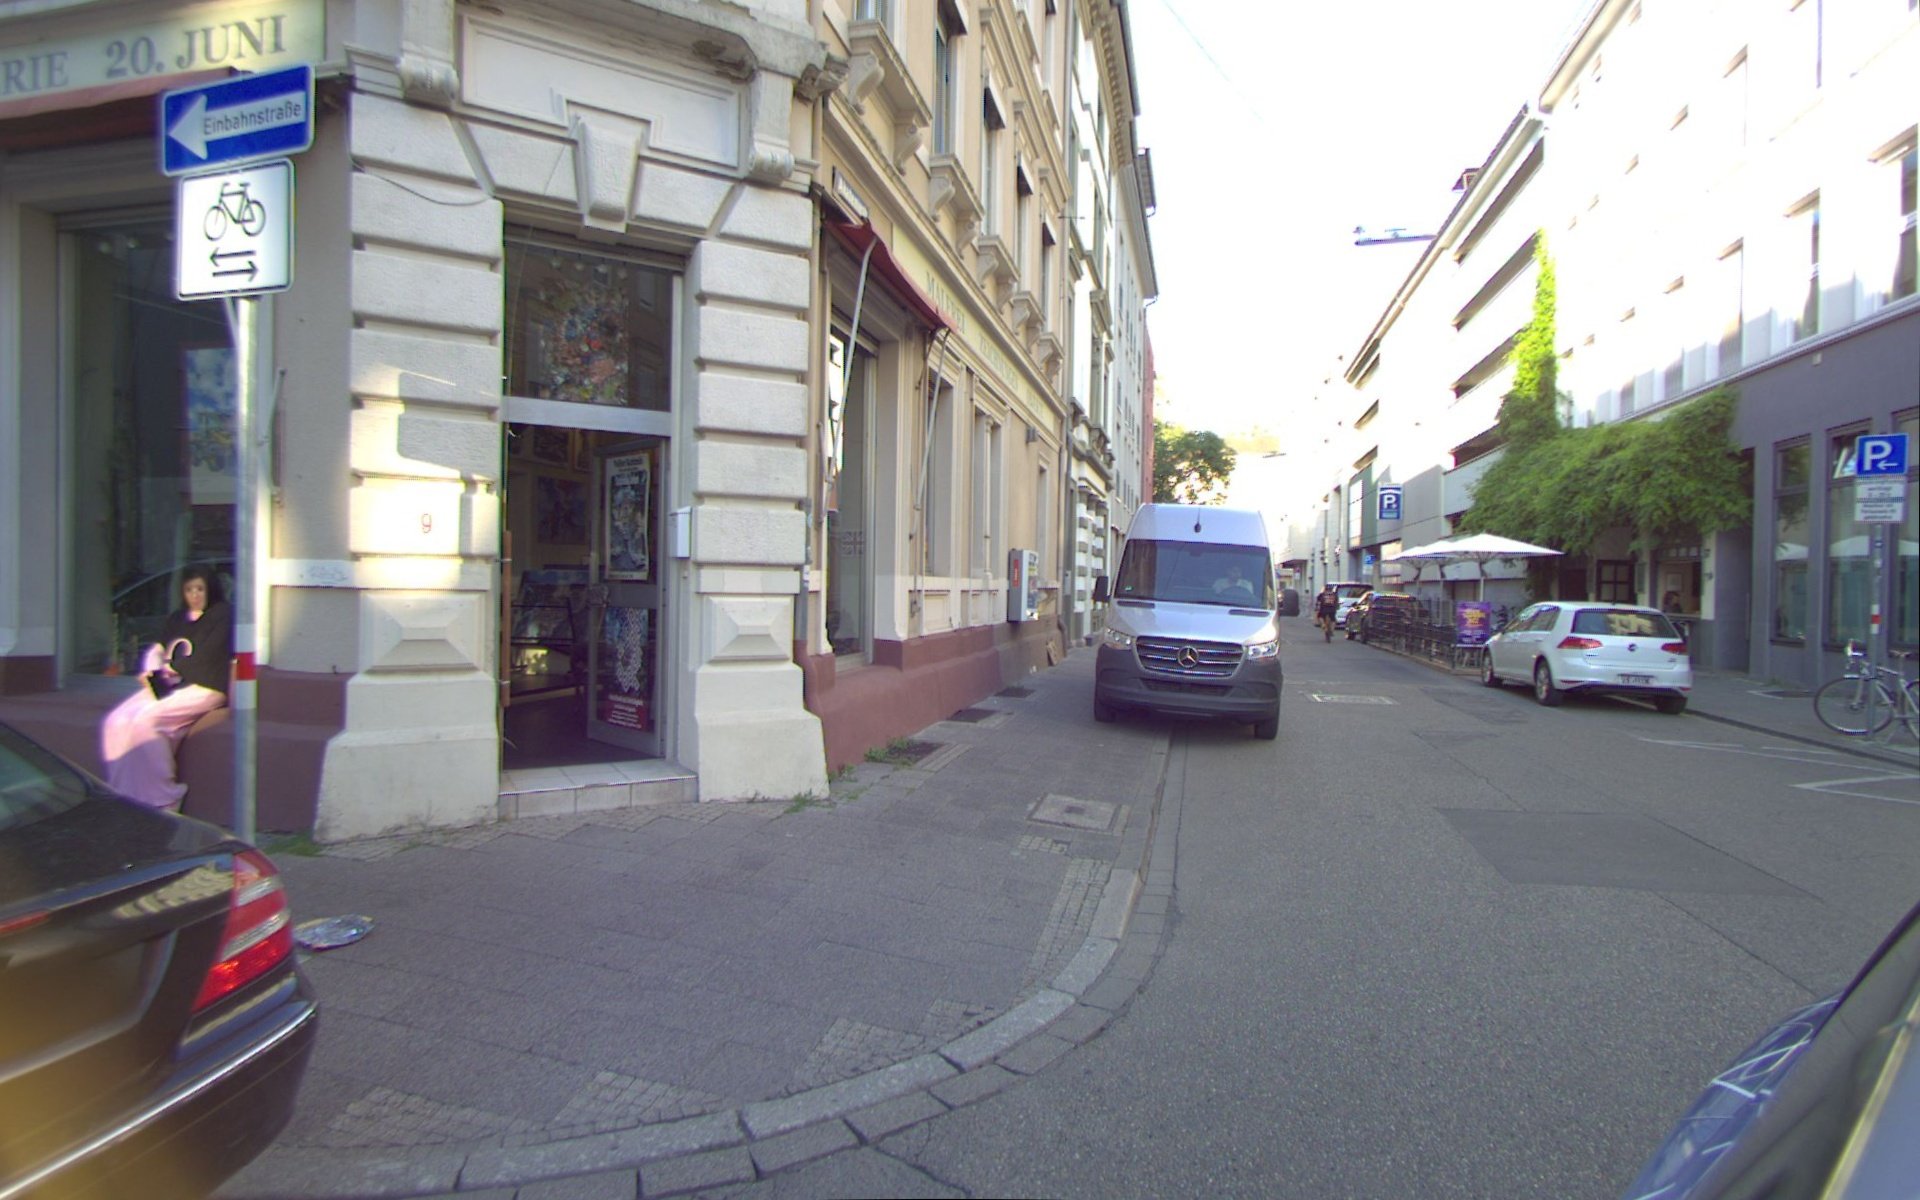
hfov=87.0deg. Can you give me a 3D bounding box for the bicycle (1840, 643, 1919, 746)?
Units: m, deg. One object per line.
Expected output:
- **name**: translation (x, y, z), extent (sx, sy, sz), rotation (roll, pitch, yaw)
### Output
- **bicycle**: translation (9.563, 0.938, 10.018), extent (0.589, 0.916, 1.636), rotation (1, 1, 15)

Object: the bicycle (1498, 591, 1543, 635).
- **bicycle**: translation (15.622, 0.345, 28.246), extent (0.636, 1.175, 1.786), rotation (1, 1, 15)

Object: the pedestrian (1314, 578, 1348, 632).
- **pedestrian**: translation (11.091, 0.142, 30.297), extent (0.820, 1.564, 1.078), rotation (1, 1, 14)

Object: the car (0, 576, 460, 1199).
- **car**: translation (-3.721, 0.638, 2.299), extent (4.666, 1.426, 1.880), rotation (2, 1, 18)

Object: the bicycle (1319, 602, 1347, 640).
- **bicycle**: translation (11.042, 0.601, 29.988), extent (0.532, 1.020, 1.973), rotation (1, 1, 14)

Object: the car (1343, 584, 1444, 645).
- **car**: translation (13.192, 0.375, 31.105), extent (1.858, 1.587, 4.754), rotation (4, 2, 12)

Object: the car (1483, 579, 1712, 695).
- **car**: translation (9.206, 0.429, 14.994), extent (1.638, 1.431, 3.867), rotation (2, 2, 13)

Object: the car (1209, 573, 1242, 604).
- **car**: translation (18.288, -0.836, 69.707), extent (1.973, 2.038, 3.978), rotation (2, 1, 18)

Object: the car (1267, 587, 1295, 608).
- **car**: translation (25.001, -0.240, 78.879), extent (1.973, 1.434, 4.535), rotation (3, 3, 17)

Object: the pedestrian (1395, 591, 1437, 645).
- **pedestrian**: translation (11.423, 0.431, 25.395), extent (0.772, 1.303, 0.911), rotation (2, 1, 15)

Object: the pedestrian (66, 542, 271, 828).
- **pedestrian**: translation (-4.427, 0.433, 5.694), extent (0.572, 1.490, 0.713), rotation (1, 1, 15)

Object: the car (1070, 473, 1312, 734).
- **car**: translation (3.013, -0.051, 12.871), extent (2.252, 2.470, 6.175), rotation (2, 1, 15)

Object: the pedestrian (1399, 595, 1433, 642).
- **pedestrian**: translation (11.848, 0.481, 26.299), extent (0.729, 1.180, 0.552), rotation (1, 1, -44)

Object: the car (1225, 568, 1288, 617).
- **car**: translation (9.935, -0.258, 34.123), extent (1.763, 1.543, 3.985), rotation (0, 1, 13)

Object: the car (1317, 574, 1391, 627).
- **car**: translation (16.252, -0.014, 42.012), extent (1.969, 1.963, 4.834), rotation (3, 2, 12)
